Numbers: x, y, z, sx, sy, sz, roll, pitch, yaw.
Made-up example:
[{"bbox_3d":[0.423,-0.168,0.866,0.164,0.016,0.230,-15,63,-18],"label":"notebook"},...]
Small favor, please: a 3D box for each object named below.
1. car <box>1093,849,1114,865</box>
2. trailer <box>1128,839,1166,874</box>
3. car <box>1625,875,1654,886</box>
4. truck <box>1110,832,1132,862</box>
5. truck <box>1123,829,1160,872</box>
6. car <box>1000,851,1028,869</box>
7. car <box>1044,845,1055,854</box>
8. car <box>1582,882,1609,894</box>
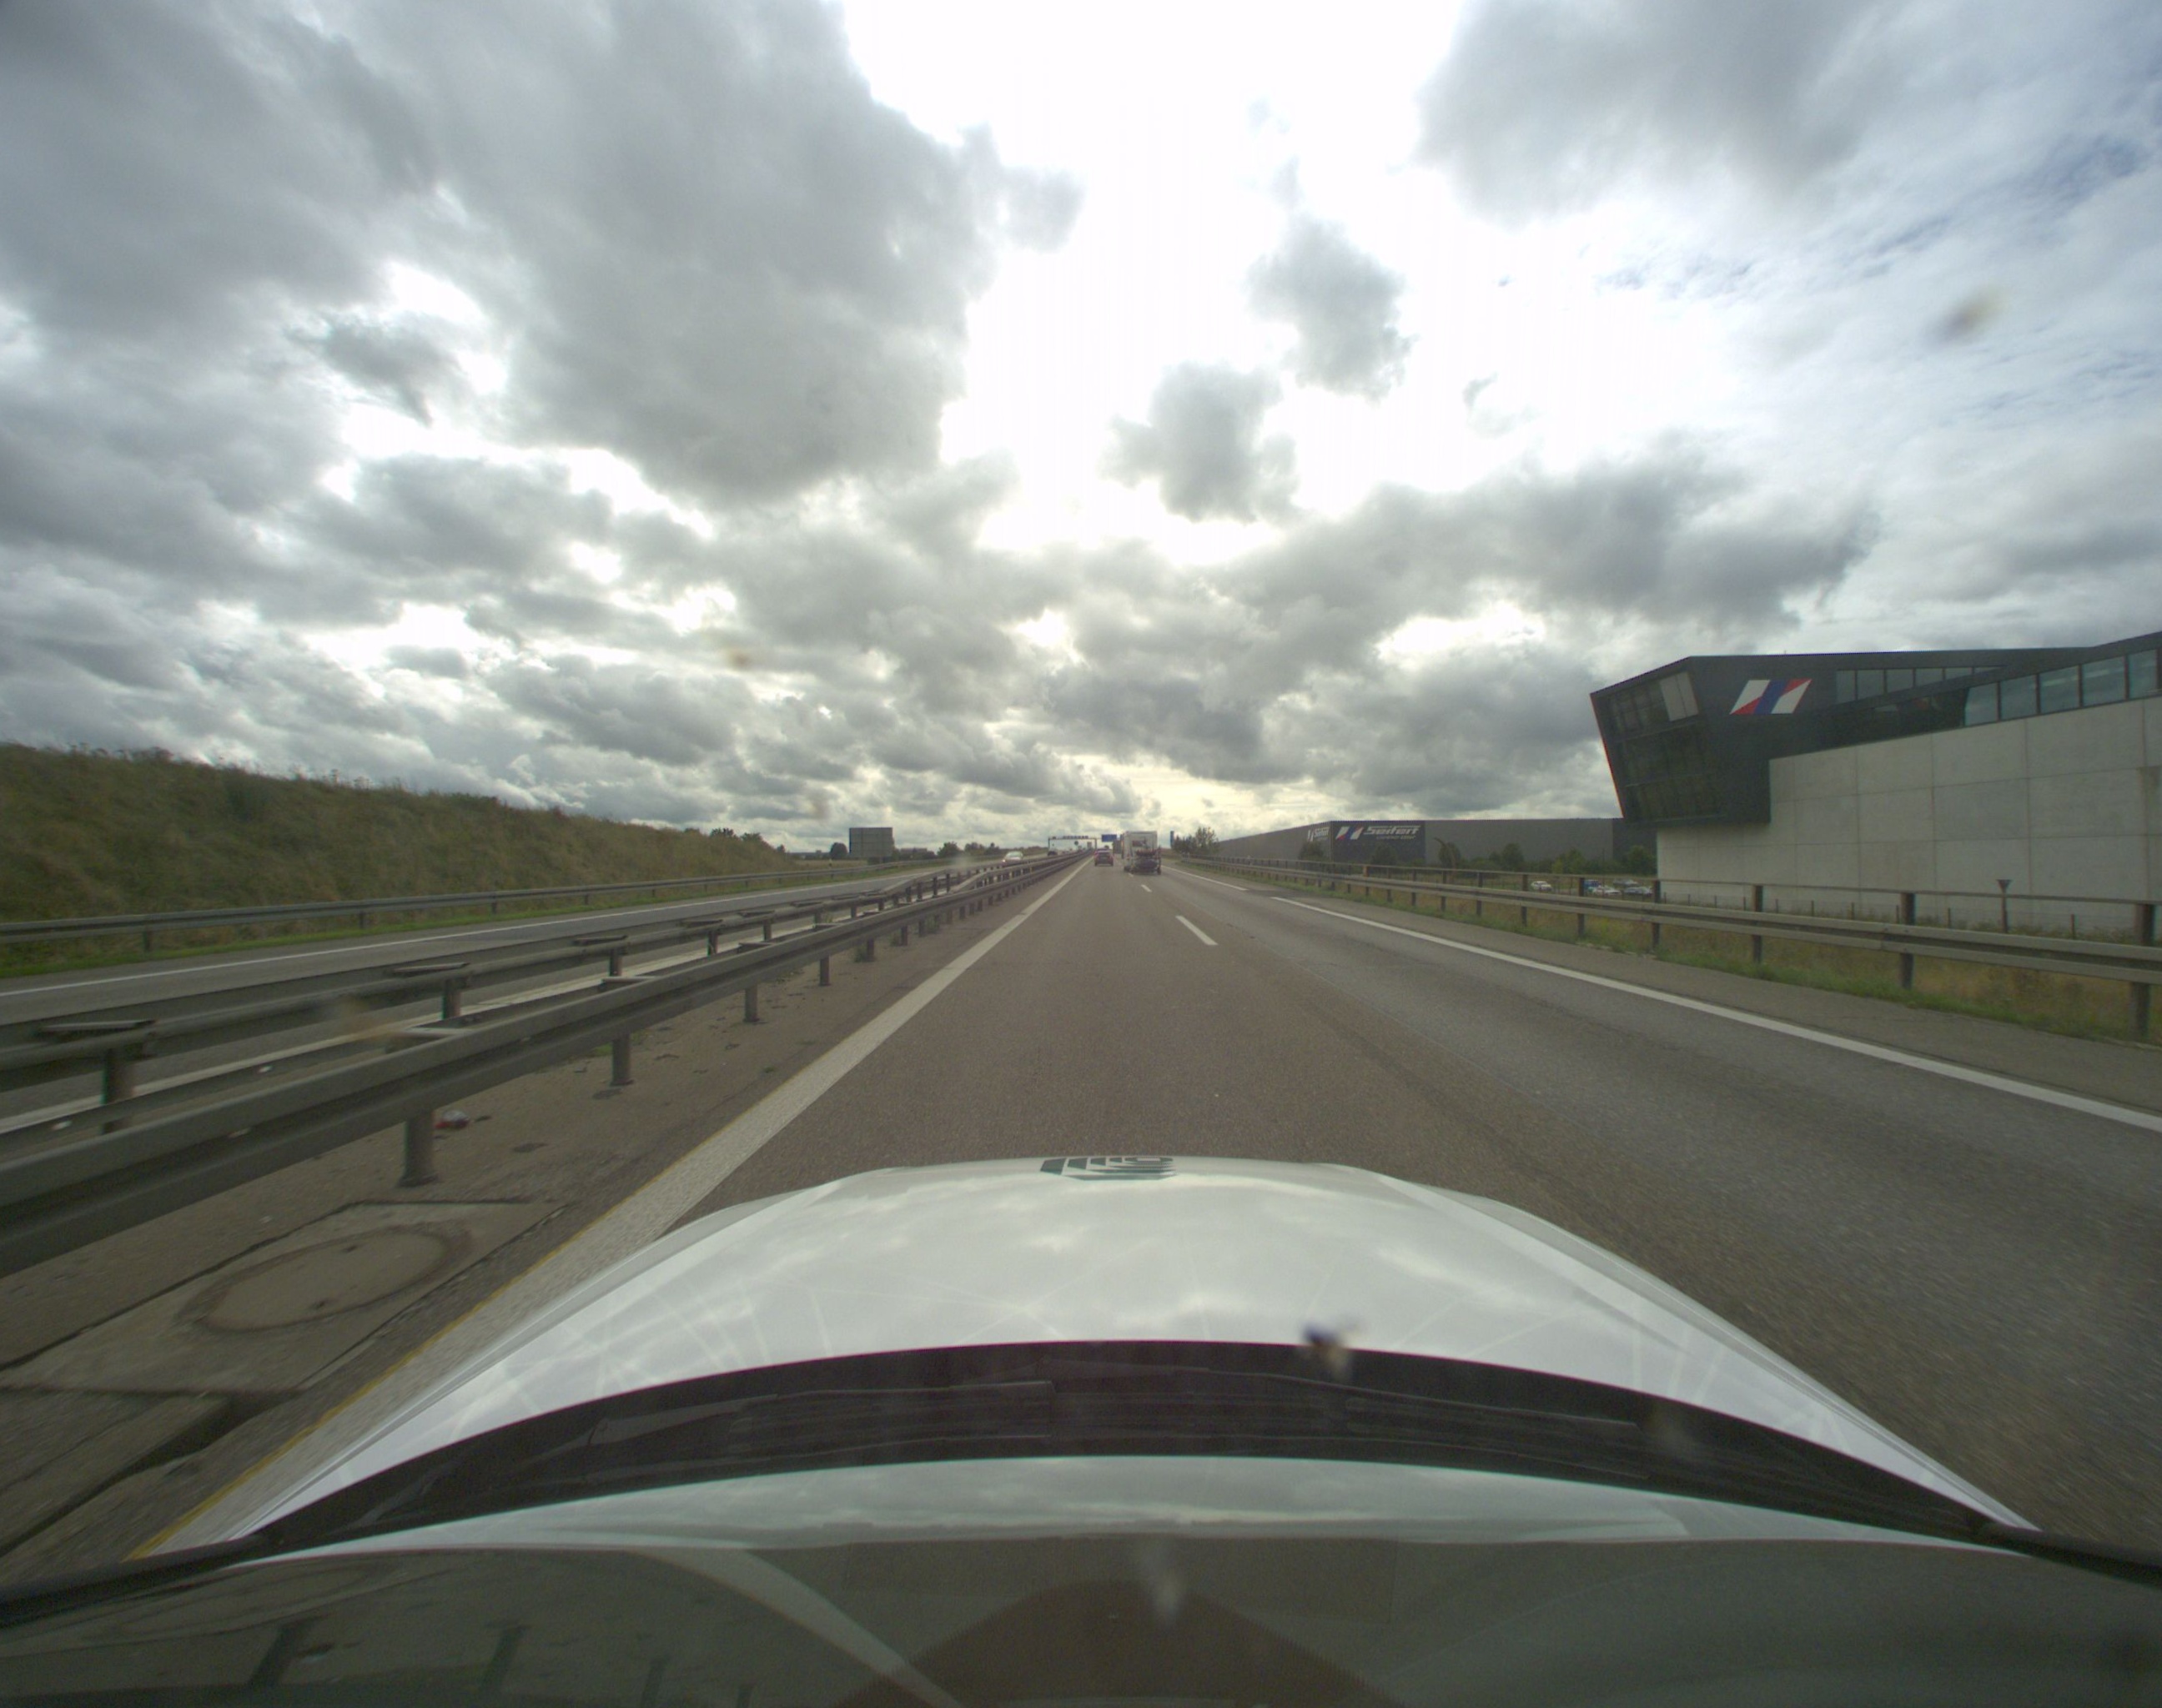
[{"bbox_3d":[2.197,0.334,78.197,1.738,1.453,4.005,-1,-1,4],"label":"car"},{"bbox_3d":[4.256,0.178,52.476,2.328,2.136,4.004,-1,-1,4],"label":"trailer"},{"bbox_3d":[84.035,4.026,122.637,1.669,1.494,4.001,1,0,1],"label":"car"},{"bbox_3d":[6.241,-1.006,128.757,3.326,4.534,8.020,-1,-1,2],"label":"truck"},{"bbox_3d":[4.346,-0.190,59.593,2.472,2.950,5.818,-1,-1,2],"label":"truck"},{"bbox_3d":[-5.949,0.572,72.742,1.899,1.513,4.731,-1,-1,2],"label":"car"},{"bbox_3d":[-7.011,-1.014,183.562,1.986,2.013,6.104,-1,1,1],"label":"car"},{"bbox_3d":[78.270,5.150,123.842,1.669,1.494,4.001,1,0,1],"label":"car"}]
